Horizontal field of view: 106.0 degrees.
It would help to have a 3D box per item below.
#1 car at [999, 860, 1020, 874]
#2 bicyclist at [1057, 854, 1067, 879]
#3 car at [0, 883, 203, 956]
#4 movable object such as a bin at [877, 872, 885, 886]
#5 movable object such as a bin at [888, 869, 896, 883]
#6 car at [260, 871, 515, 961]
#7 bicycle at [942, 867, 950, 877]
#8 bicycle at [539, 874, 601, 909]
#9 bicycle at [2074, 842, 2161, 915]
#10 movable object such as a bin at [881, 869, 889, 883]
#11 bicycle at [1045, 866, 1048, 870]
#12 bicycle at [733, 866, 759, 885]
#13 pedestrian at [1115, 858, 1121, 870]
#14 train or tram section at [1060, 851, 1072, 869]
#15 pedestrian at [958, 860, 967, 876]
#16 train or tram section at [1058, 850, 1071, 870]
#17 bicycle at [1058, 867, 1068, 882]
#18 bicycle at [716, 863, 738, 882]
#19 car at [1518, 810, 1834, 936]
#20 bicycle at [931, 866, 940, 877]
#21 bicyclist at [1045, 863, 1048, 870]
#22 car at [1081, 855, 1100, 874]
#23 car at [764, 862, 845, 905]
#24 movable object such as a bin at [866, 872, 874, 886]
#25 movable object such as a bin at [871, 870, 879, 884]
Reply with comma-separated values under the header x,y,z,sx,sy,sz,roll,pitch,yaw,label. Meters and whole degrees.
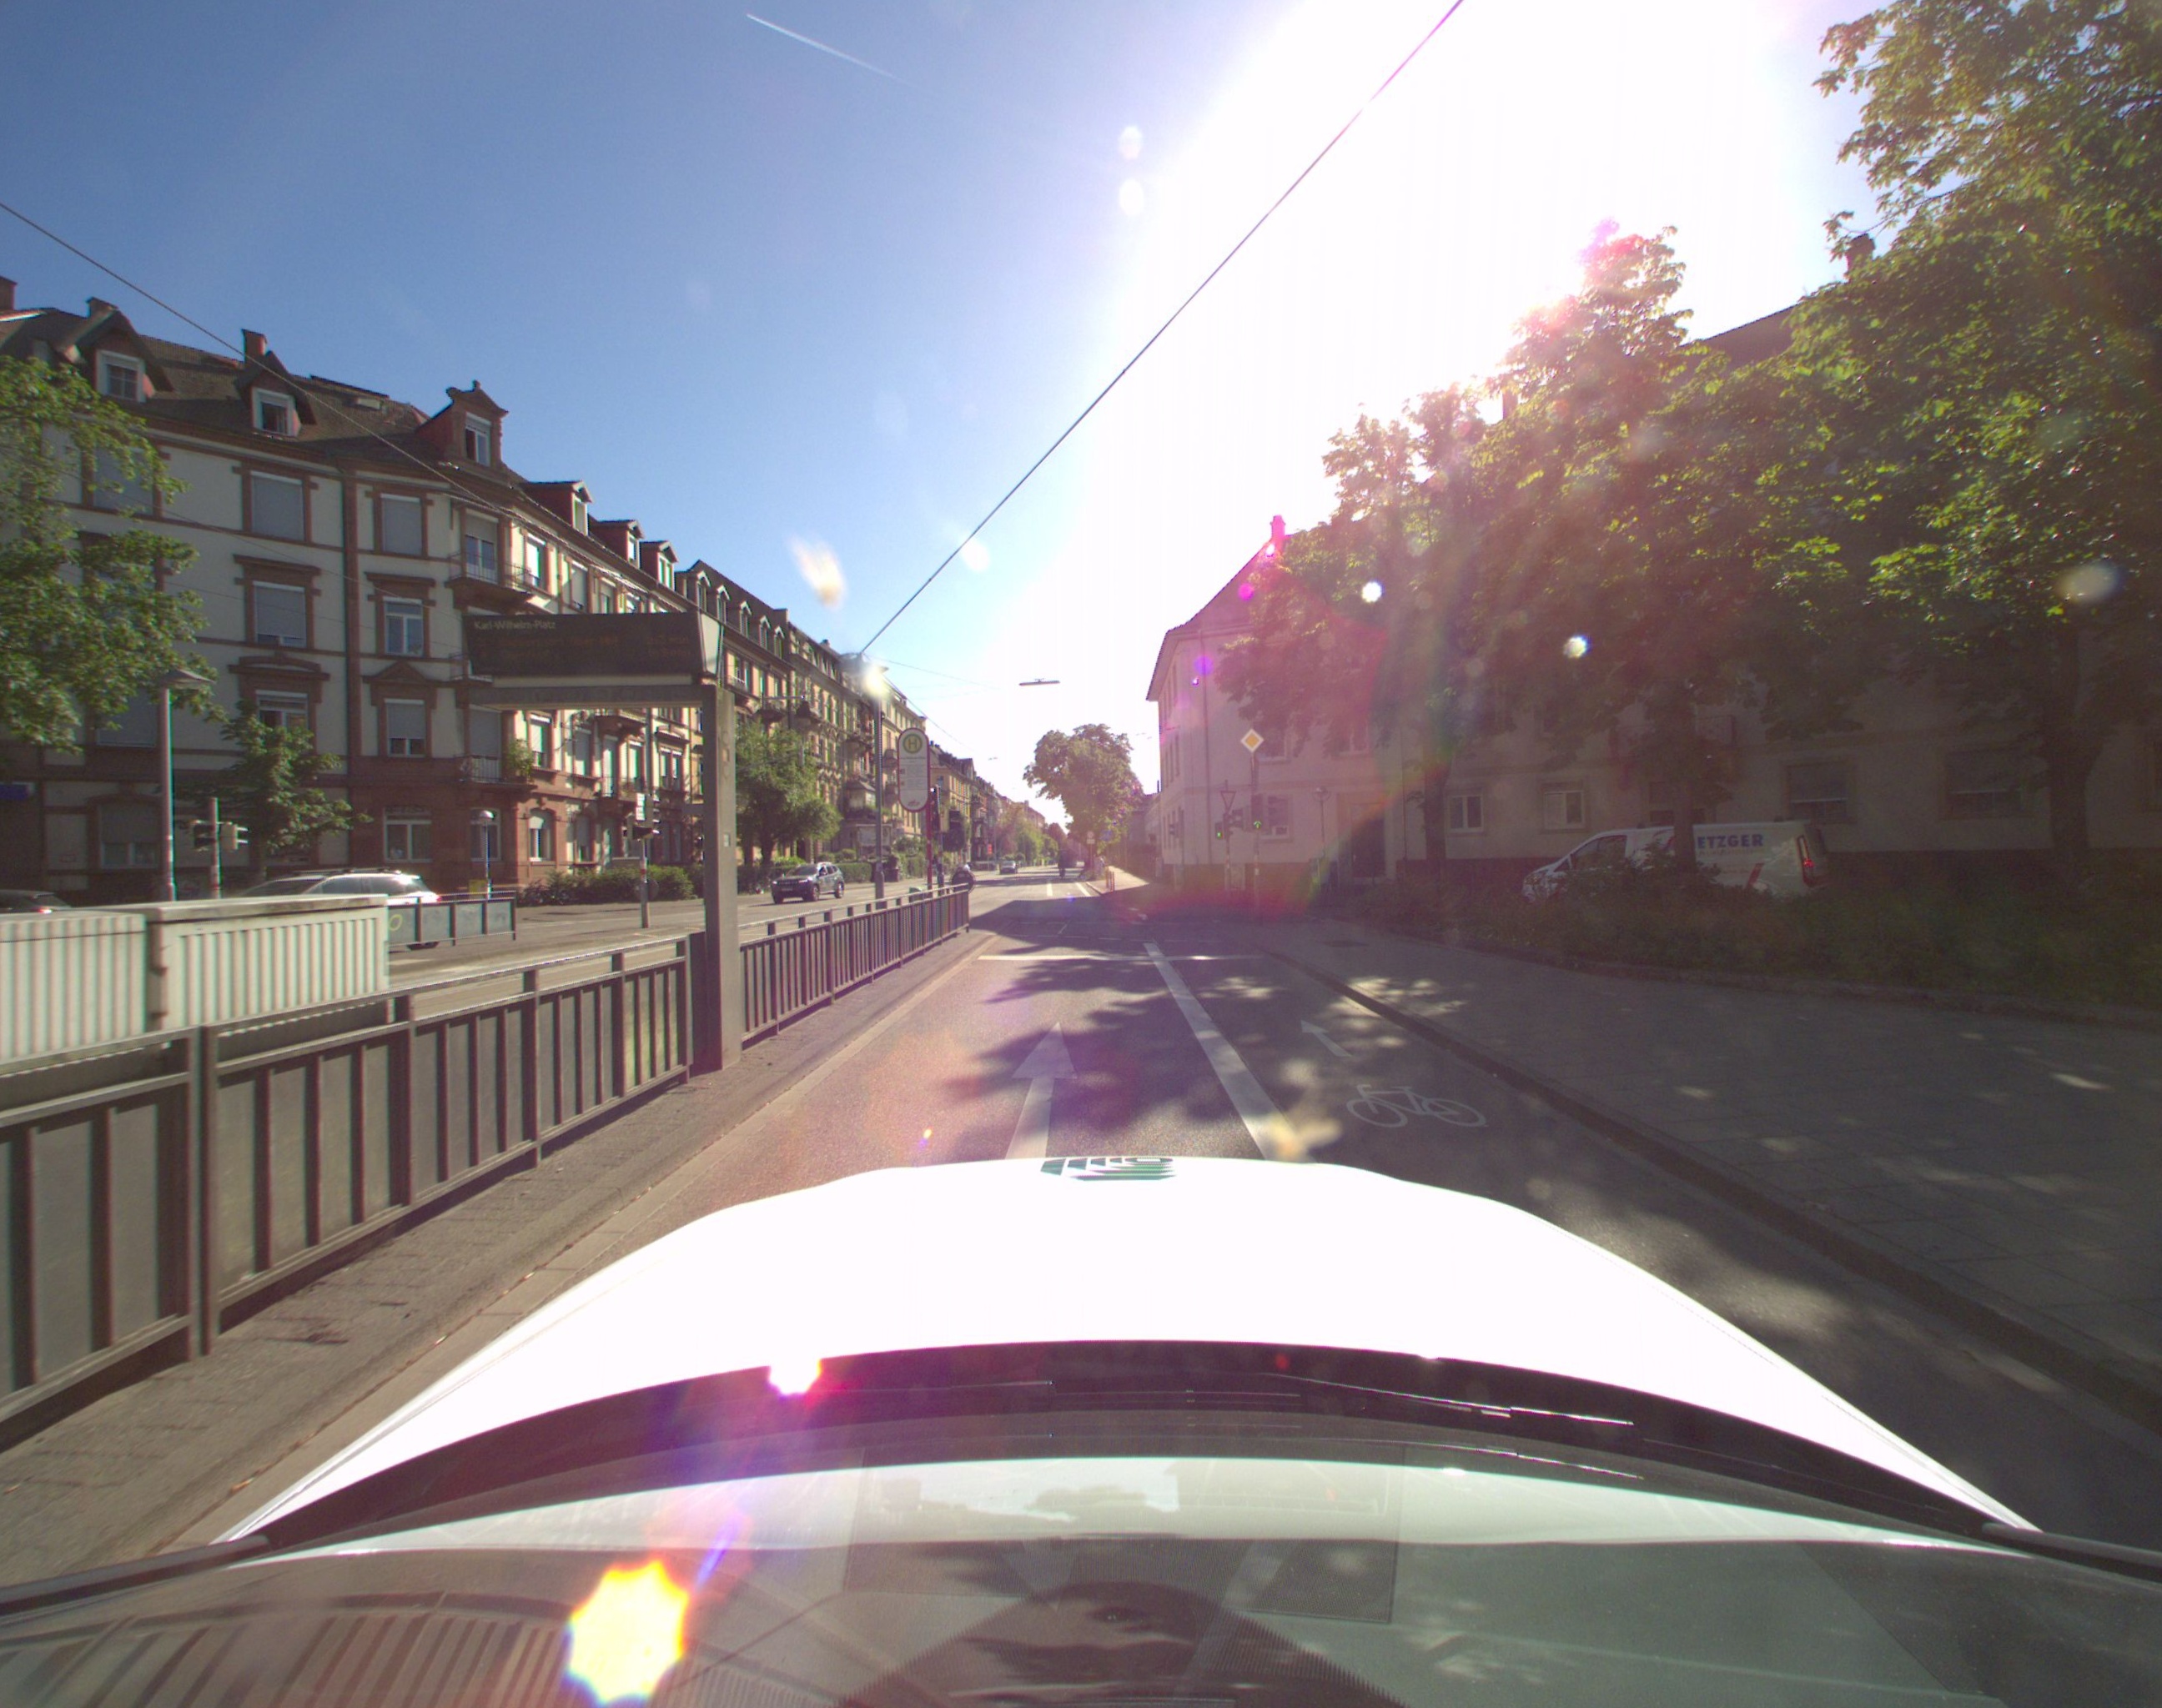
x,y,z,sx,sy,sz,roll,pitch,yaw,label
-8.123,1.468,92.483,1.825,1.518,4.968,1,0,1,car
-1.431,0.959,61.280,0.725,1.848,0.836,0,-1,0,bicyclist
-21.913,1.398,17.781,3.444,1.442,1.574,0,0,-9,car
-15.641,1.942,63.736,0.477,1.086,0.541,0,-1,2,movable object such as a bin
-14.951,1.769,64.314,0.477,1.086,0.541,0,-1,2,movable object such as a bin
-13.602,1.139,16.313,1.682,1.540,3.803,-1,0,5,car
-14.265,1.883,85.933,0.561,1.033,1.767,0,0,0,bicycle
-20.294,1.469,32.392,0.415,1.296,2.058,-1,-1,43,bicycle
19.212,0.429,14.548,0.429,1.280,1.812,-3,1,-32,bicycle
-15.508,1.754,64.431,0.477,1.086,0.541,0,-1,2,movable object such as a bin
-8.665,3.464,203.363,0.689,1.112,1.719,-3,0,1,bicycle
-17.104,1.082,41.575,0.340,0.926,1.946,0,0,6,bicycle
5.547,1.483,122.442,0.755,1.724,0.583,0,-1,30,pedestrian
-2.871,1.130,155.252,2.146,3.432,6.612,0,0,1,train or tram section
-13.002,1.527,89.219,0.826,1.724,1.082,0,-2,1,pedestrian
-3.004,1.102,148.584,2.146,3.432,6.612,0,0,1,train or tram section
-1.356,1.552,61.361,0.689,1.112,1.719,0,0,1,bicycle
-17.267,0.896,39.766,0.340,0.926,1.454,0,0,6,bicycle
11.332,0.328,15.835,1.696,2.092,4.701,0,-1,-42,car
-14.599,1.786,81.618,0.561,1.033,1.768,0,1,2,bicycle
-8.658,3.172,203.576,0.658,1.801,0.616,-3,-1,1,bicyclist
0.931,1.005,79.648,1.738,1.766,4.477,0,0,0,car
-11.813,1.212,35.108,1.890,1.618,4.265,-3,-1,1,car
-16.458,1.960,63.552,0.477,1.086,0.541,0,-1,2,movable object such as a bin
-16.232,1.782,64.262,0.477,1.086,0.541,0,-1,2,movable object such as a bin
